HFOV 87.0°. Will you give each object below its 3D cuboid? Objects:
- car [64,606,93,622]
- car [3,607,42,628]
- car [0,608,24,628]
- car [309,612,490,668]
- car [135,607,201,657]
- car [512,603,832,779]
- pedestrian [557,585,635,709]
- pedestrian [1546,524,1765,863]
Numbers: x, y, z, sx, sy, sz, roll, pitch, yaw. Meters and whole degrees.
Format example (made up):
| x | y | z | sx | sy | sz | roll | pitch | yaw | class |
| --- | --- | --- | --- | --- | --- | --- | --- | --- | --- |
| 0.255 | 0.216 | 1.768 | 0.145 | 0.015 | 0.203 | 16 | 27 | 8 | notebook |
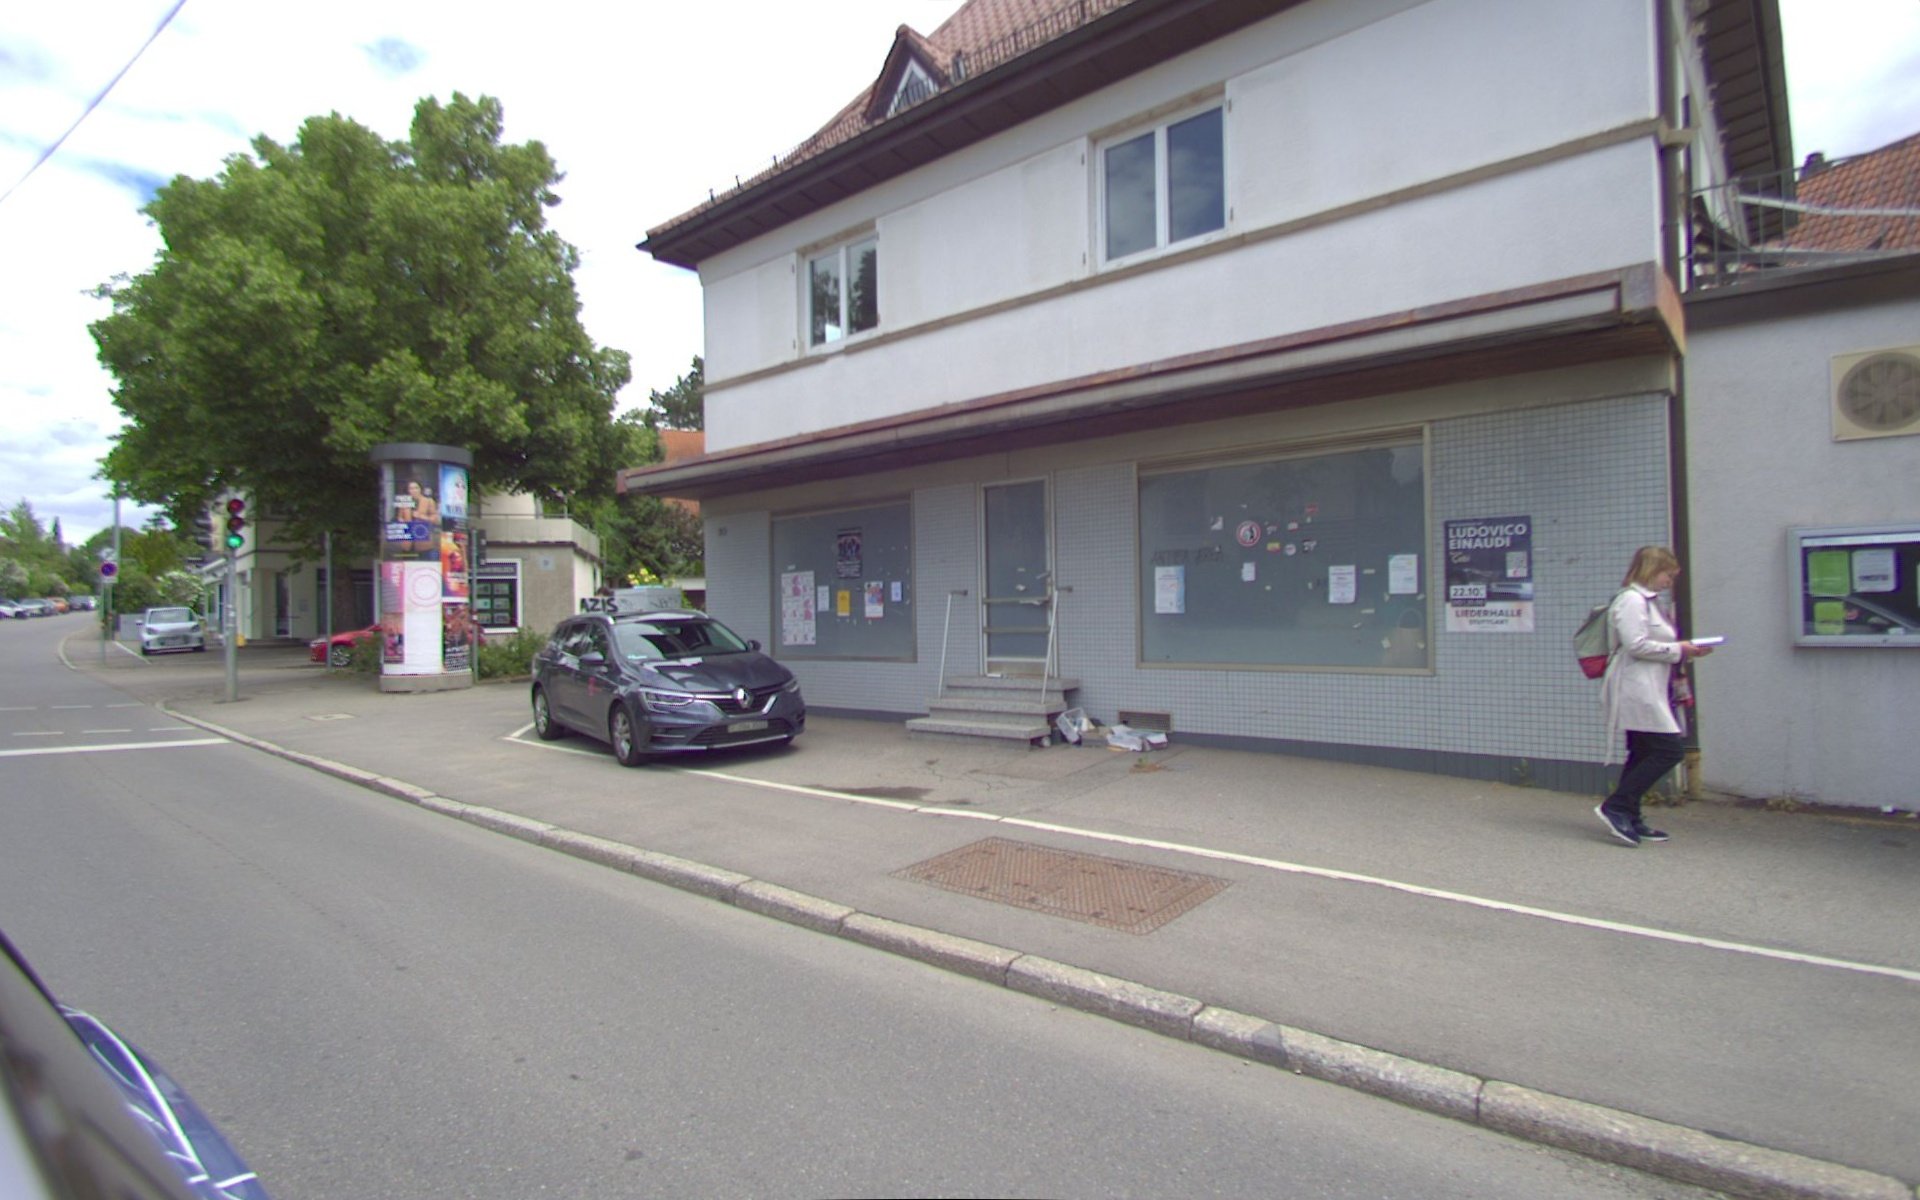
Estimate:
| x | y | z | sx | sy | sz | roll | pitch | yaw | class |
| --- | --- | --- | --- | --- | --- | --- | --- | --- | --- |
| -94.577 | 1.480 | 108.588 | 1.924 | 1.639 | 4.386 | -2 | 2 | -37 | car |
| -80.013 | 1.490 | 86.450 | 1.805 | 1.636 | 4.504 | -1 | 1 | -35 | car |
| -75.637 | 1.405 | 79.899 | 2.255 | 1.535 | 1.322 | 0 | 0 | -30 | car |
| -15.700 | 1.123 | 28.569 | 4.161 | 1.443 | 1.821 | -1 | -3 | -16 | car |
| -26.950 | 1.046 | 34.428 | 1.569 | 1.549 | 2.928 | -4 | 2 | -41 | car |
| -3.360 | 0.826 | 11.125 | 1.757 | 1.452 | 4.534 | -3 | 1 | -38 | car |
| -5.377 | 0.672 | 14.936 | 0.874 | 1.731 | 0.763 | -3 | 1 | -32 | pedestrian |
| 4.053 | 0.484 | 5.910 | 0.962 | 1.764 | 0.874 | -1 | 0 | 38 | pedestrian |
